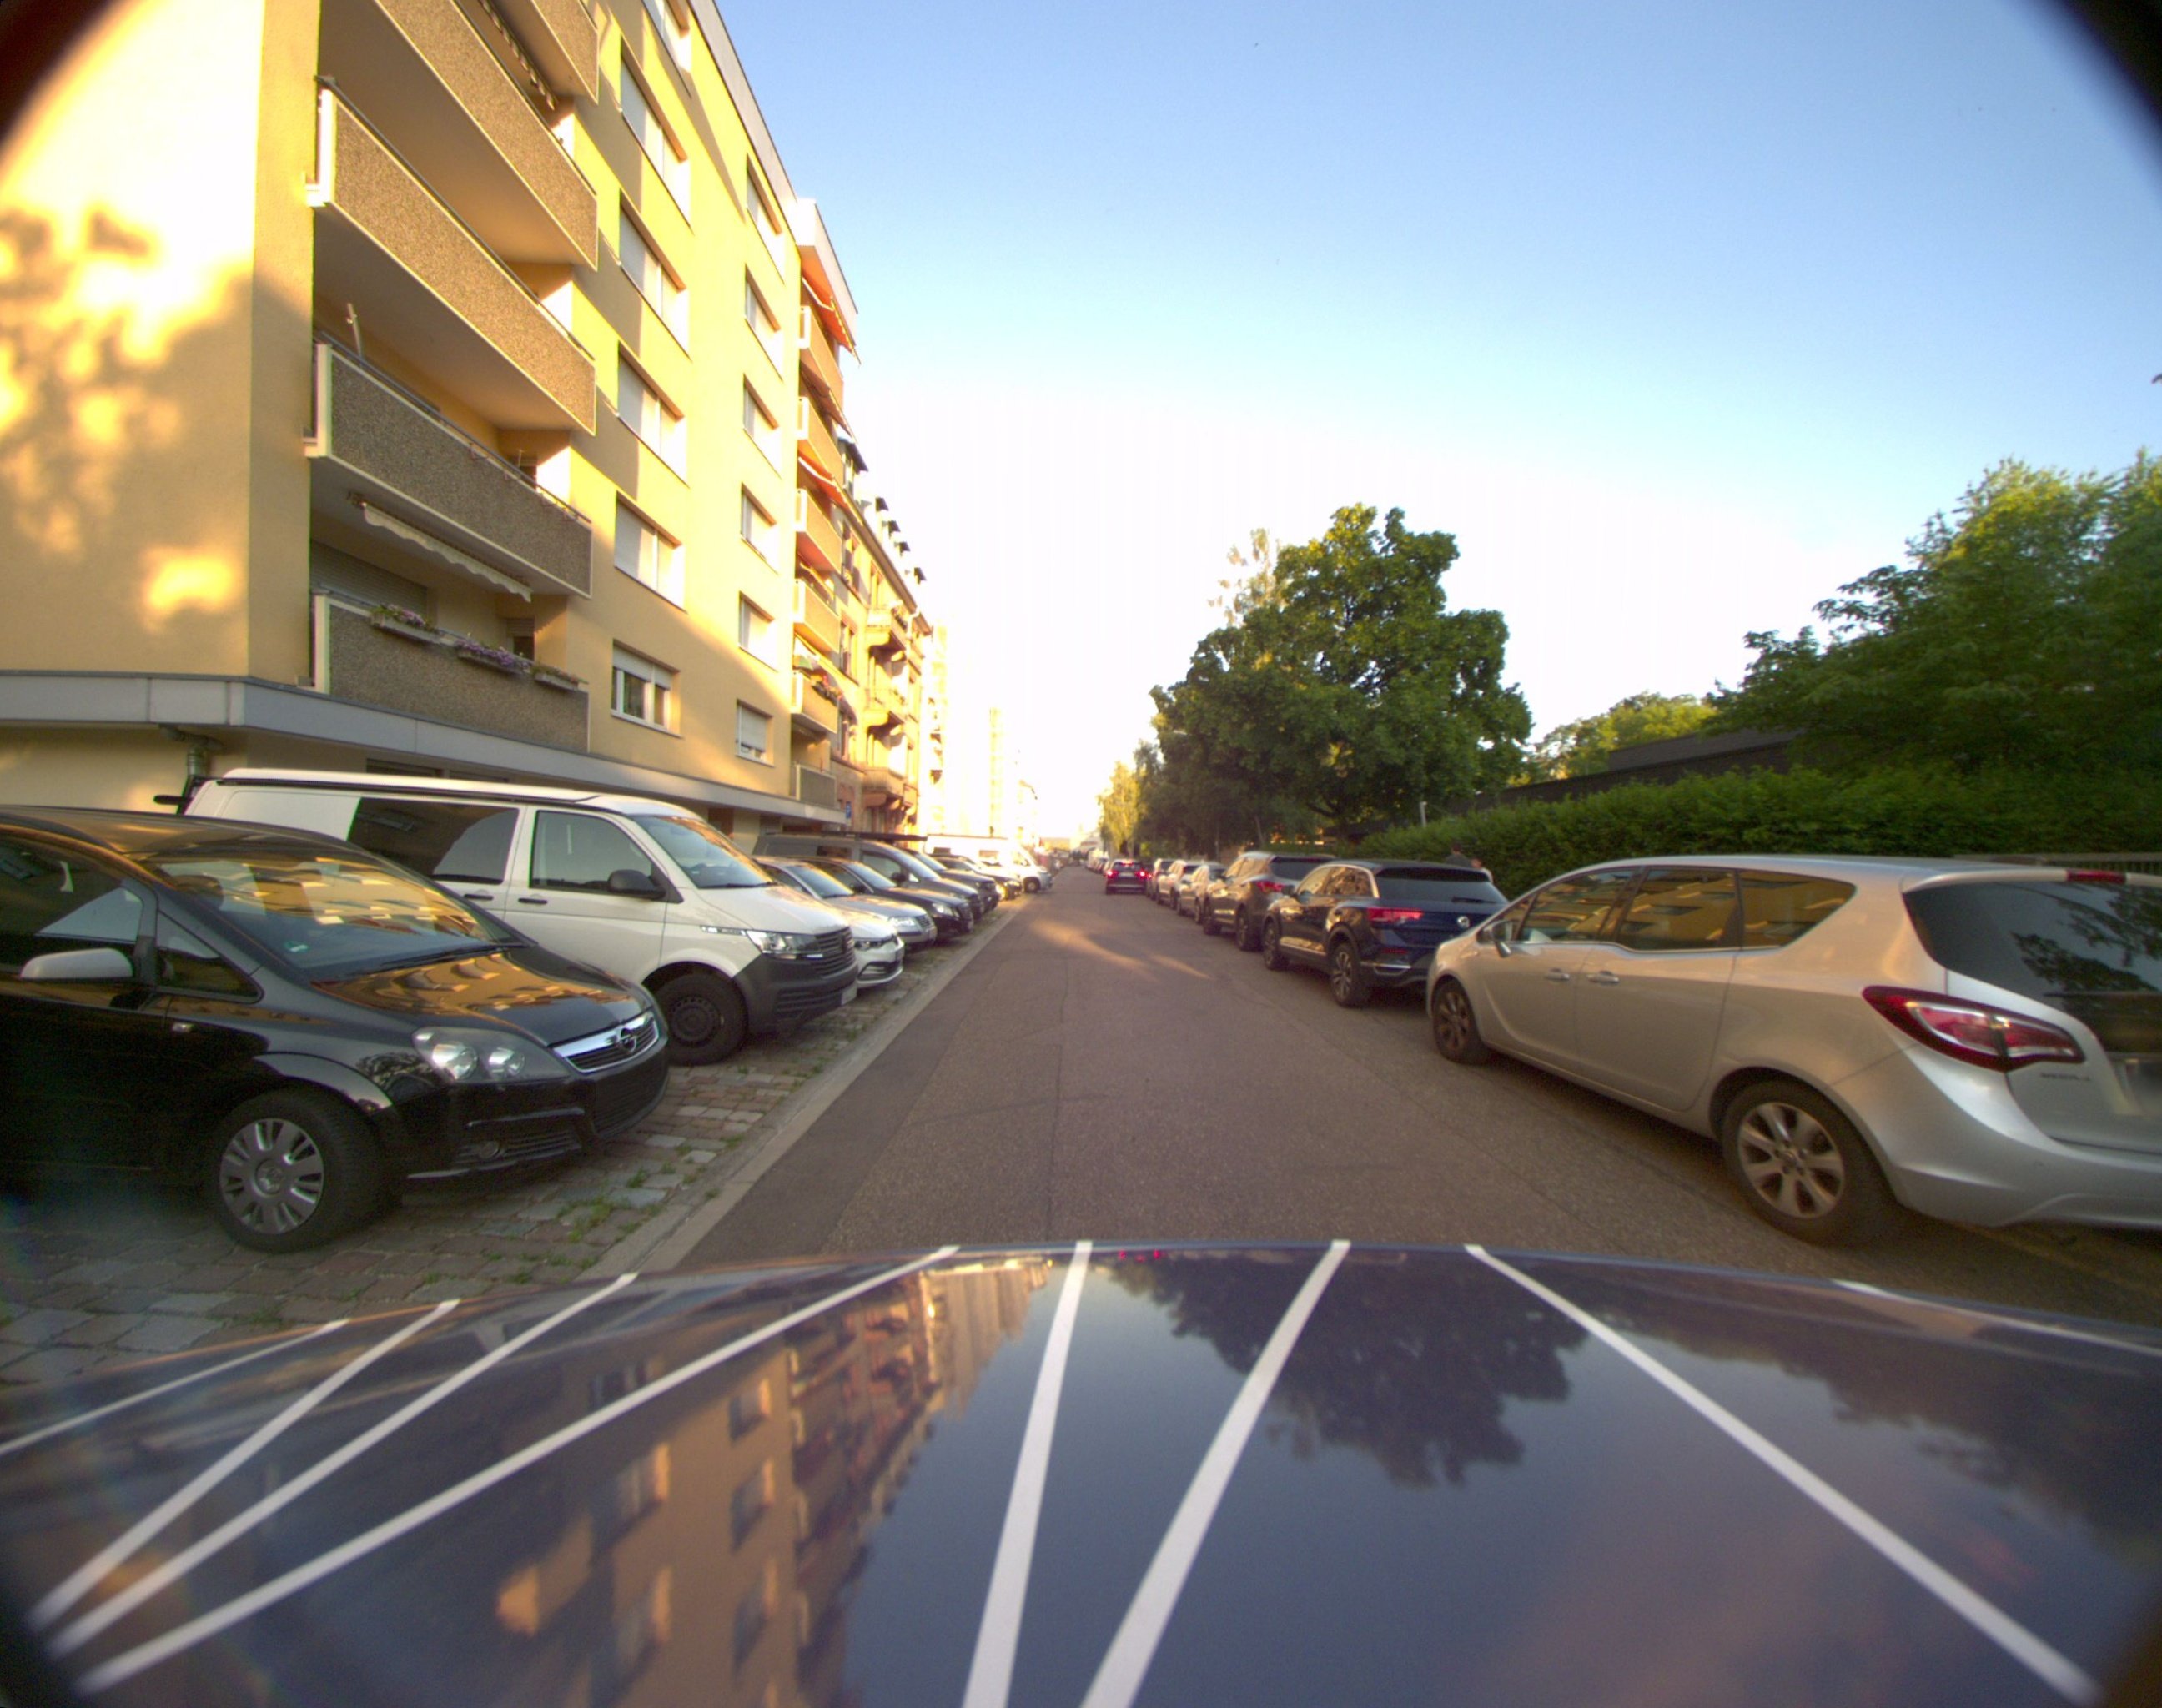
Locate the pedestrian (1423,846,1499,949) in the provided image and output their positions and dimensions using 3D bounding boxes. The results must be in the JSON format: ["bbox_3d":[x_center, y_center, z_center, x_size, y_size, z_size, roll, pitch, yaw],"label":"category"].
[{"bbox_3d":[6.679,0.751,13.397,0.901,1.722,0.750,-2,0,-2],"label":"pedestrian"}]

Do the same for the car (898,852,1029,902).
[{"bbox_3d":[-4.179,0.817,27.591,4.414,1.545,1.845,2,2,0],"label":"car"}]

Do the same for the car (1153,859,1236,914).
[{"bbox_3d":[3.519,0.979,24.315,1.764,1.534,4.279,2,0,-3],"label":"car"}]

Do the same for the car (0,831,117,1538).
[{"bbox_3d":[-4.671,0.685,0.944,4.416,1.652,1.844,3,2,-3],"label":"car"}]

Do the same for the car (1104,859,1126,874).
[{"bbox_3d":[3.177,1.155,72.109,1.738,1.358,4.291,2,0,-1],"label":"car"}]

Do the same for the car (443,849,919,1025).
[{"bbox_3d":[-4.261,0.847,8.654,4.415,1.622,1.845,2,2,-1],"label":"car"}]

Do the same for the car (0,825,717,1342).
[{"bbox_3d":[-4.314,0.791,3.505,4.338,1.652,1.780,3,2,-3],"label":"car"}]

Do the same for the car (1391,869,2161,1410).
[{"bbox_3d":[3.615,0.923,4.385,1.738,1.558,4.128,2,0,-3],"label":"car"}]

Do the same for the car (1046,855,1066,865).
[{"bbox_3d":[-5.068,1.115,153.105,3.997,2.002,2.000,0,0,-1],"label":"car"}]

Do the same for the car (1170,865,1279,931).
[{"bbox_3d":[3.530,1.048,19.525,1.738,1.418,4.285,2,0,-3],"label":"car"}]

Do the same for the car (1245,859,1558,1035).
[{"bbox_3d":[3.398,0.872,9.056,1.738,1.558,4.166,2,0,-3],"label":"car"}]

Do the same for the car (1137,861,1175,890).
[{"bbox_3d":[3.997,1.109,40.918,1.624,1.417,3.415,2,0,0],"label":"car"}]

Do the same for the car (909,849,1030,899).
[{"bbox_3d":[-4.375,0.760,30.161,4.413,1.739,1.846,2,2,4],"label":"car"}]

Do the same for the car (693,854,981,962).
[{"bbox_3d":[-4.085,0.878,13.266,4.415,1.554,1.845,2,2,-1],"label":"car"}]

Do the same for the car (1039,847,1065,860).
[{"bbox_3d":[-4.620,-0.037,121.406,3.997,2.002,2.000,0,0,-1],"label":"car"}]

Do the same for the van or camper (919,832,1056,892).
[{"bbox_3d":[-4.275,0.353,35.546,6.075,2.489,2.050,2,0,0],"label":"van or camper"}]

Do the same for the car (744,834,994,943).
[{"bbox_3d":[-4.272,0.659,15.846,4.649,1.970,1.845,2,2,-1],"label":"car"}]

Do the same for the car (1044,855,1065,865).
[{"bbox_3d":[-5.224,1.121,150.677,3.997,2.002,2.000,0,0,-1],"label":"car"}]

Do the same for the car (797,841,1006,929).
[{"bbox_3d":[-4.166,0.707,18.210,4.524,1.852,1.845,2,0,-1],"label":"car"}]

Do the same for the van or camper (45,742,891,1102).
[{"bbox_3d":[-4.457,0.494,6.288,5.147,2.155,2.039,4,1,-2],"label":"van or camper"}]

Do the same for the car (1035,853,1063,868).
[{"bbox_3d":[-4.496,0.888,107.205,3.997,2.002,2.000,0,0,-1],"label":"car"}]

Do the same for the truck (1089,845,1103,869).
[{"bbox_3d":[2.531,0.472,128.854,2.183,3.860,4.926,0,0,0],"label":"truck"}]

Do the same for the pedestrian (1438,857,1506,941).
[{"bbox_3d":[7.363,0.825,14.333,0.750,1.499,0.901,-2,0,-2],"label":"pedestrian"}]

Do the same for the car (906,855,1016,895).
[{"bbox_3d":[-5.089,0.892,32.688,4.414,1.610,1.845,0,2,1],"label":"car"}]

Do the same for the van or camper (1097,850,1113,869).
[{"bbox_3d":[3.133,0.730,101.710,1.825,2.400,4.291,2,0,-1],"label":"van or camper"}]

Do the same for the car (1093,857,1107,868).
[{"bbox_3d":[2.723,1.242,110.913,1.738,1.502,4.291,2,0,-1],"label":"car"}]

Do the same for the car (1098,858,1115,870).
[{"bbox_3d":[3.056,1.202,90.341,1.738,1.358,4.291,2,0,-1],"label":"car"}]

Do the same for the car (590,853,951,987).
[{"bbox_3d":[-4.264,0.875,10.965,4.415,1.584,1.845,2,2,-1],"label":"car"}]

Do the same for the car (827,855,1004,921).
[{"bbox_3d":[-4.456,0.893,20.885,4.414,1.545,1.845,2,2,2],"label":"car"}]

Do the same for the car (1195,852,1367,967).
[{"bbox_3d":[3.418,0.867,13.892,1.738,1.720,4.322,2,0,-3],"label":"car"}]

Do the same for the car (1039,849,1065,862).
[{"bbox_3d":[-4.503,0.297,118.254,3.997,2.002,2.000,0,0,-1],"label":"car"}]

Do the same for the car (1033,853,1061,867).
[{"bbox_3d":[-4.876,0.885,109.749,3.997,2.002,2.000,0,0,-1],"label":"car"}]

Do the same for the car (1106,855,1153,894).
[{"bbox_3d":[2.300,0.924,34.919,1.736,1.621,4.129,2,0,9],"label":"car"}]

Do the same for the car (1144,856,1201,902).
[{"bbox_3d":[3.524,0.924,29.818,1.738,1.621,3.980,2,0,0],"label":"car"}]

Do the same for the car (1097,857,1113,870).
[{"bbox_3d":[3.080,1.212,96.570,1.738,1.502,4.291,2,0,-1],"label":"car"}]
